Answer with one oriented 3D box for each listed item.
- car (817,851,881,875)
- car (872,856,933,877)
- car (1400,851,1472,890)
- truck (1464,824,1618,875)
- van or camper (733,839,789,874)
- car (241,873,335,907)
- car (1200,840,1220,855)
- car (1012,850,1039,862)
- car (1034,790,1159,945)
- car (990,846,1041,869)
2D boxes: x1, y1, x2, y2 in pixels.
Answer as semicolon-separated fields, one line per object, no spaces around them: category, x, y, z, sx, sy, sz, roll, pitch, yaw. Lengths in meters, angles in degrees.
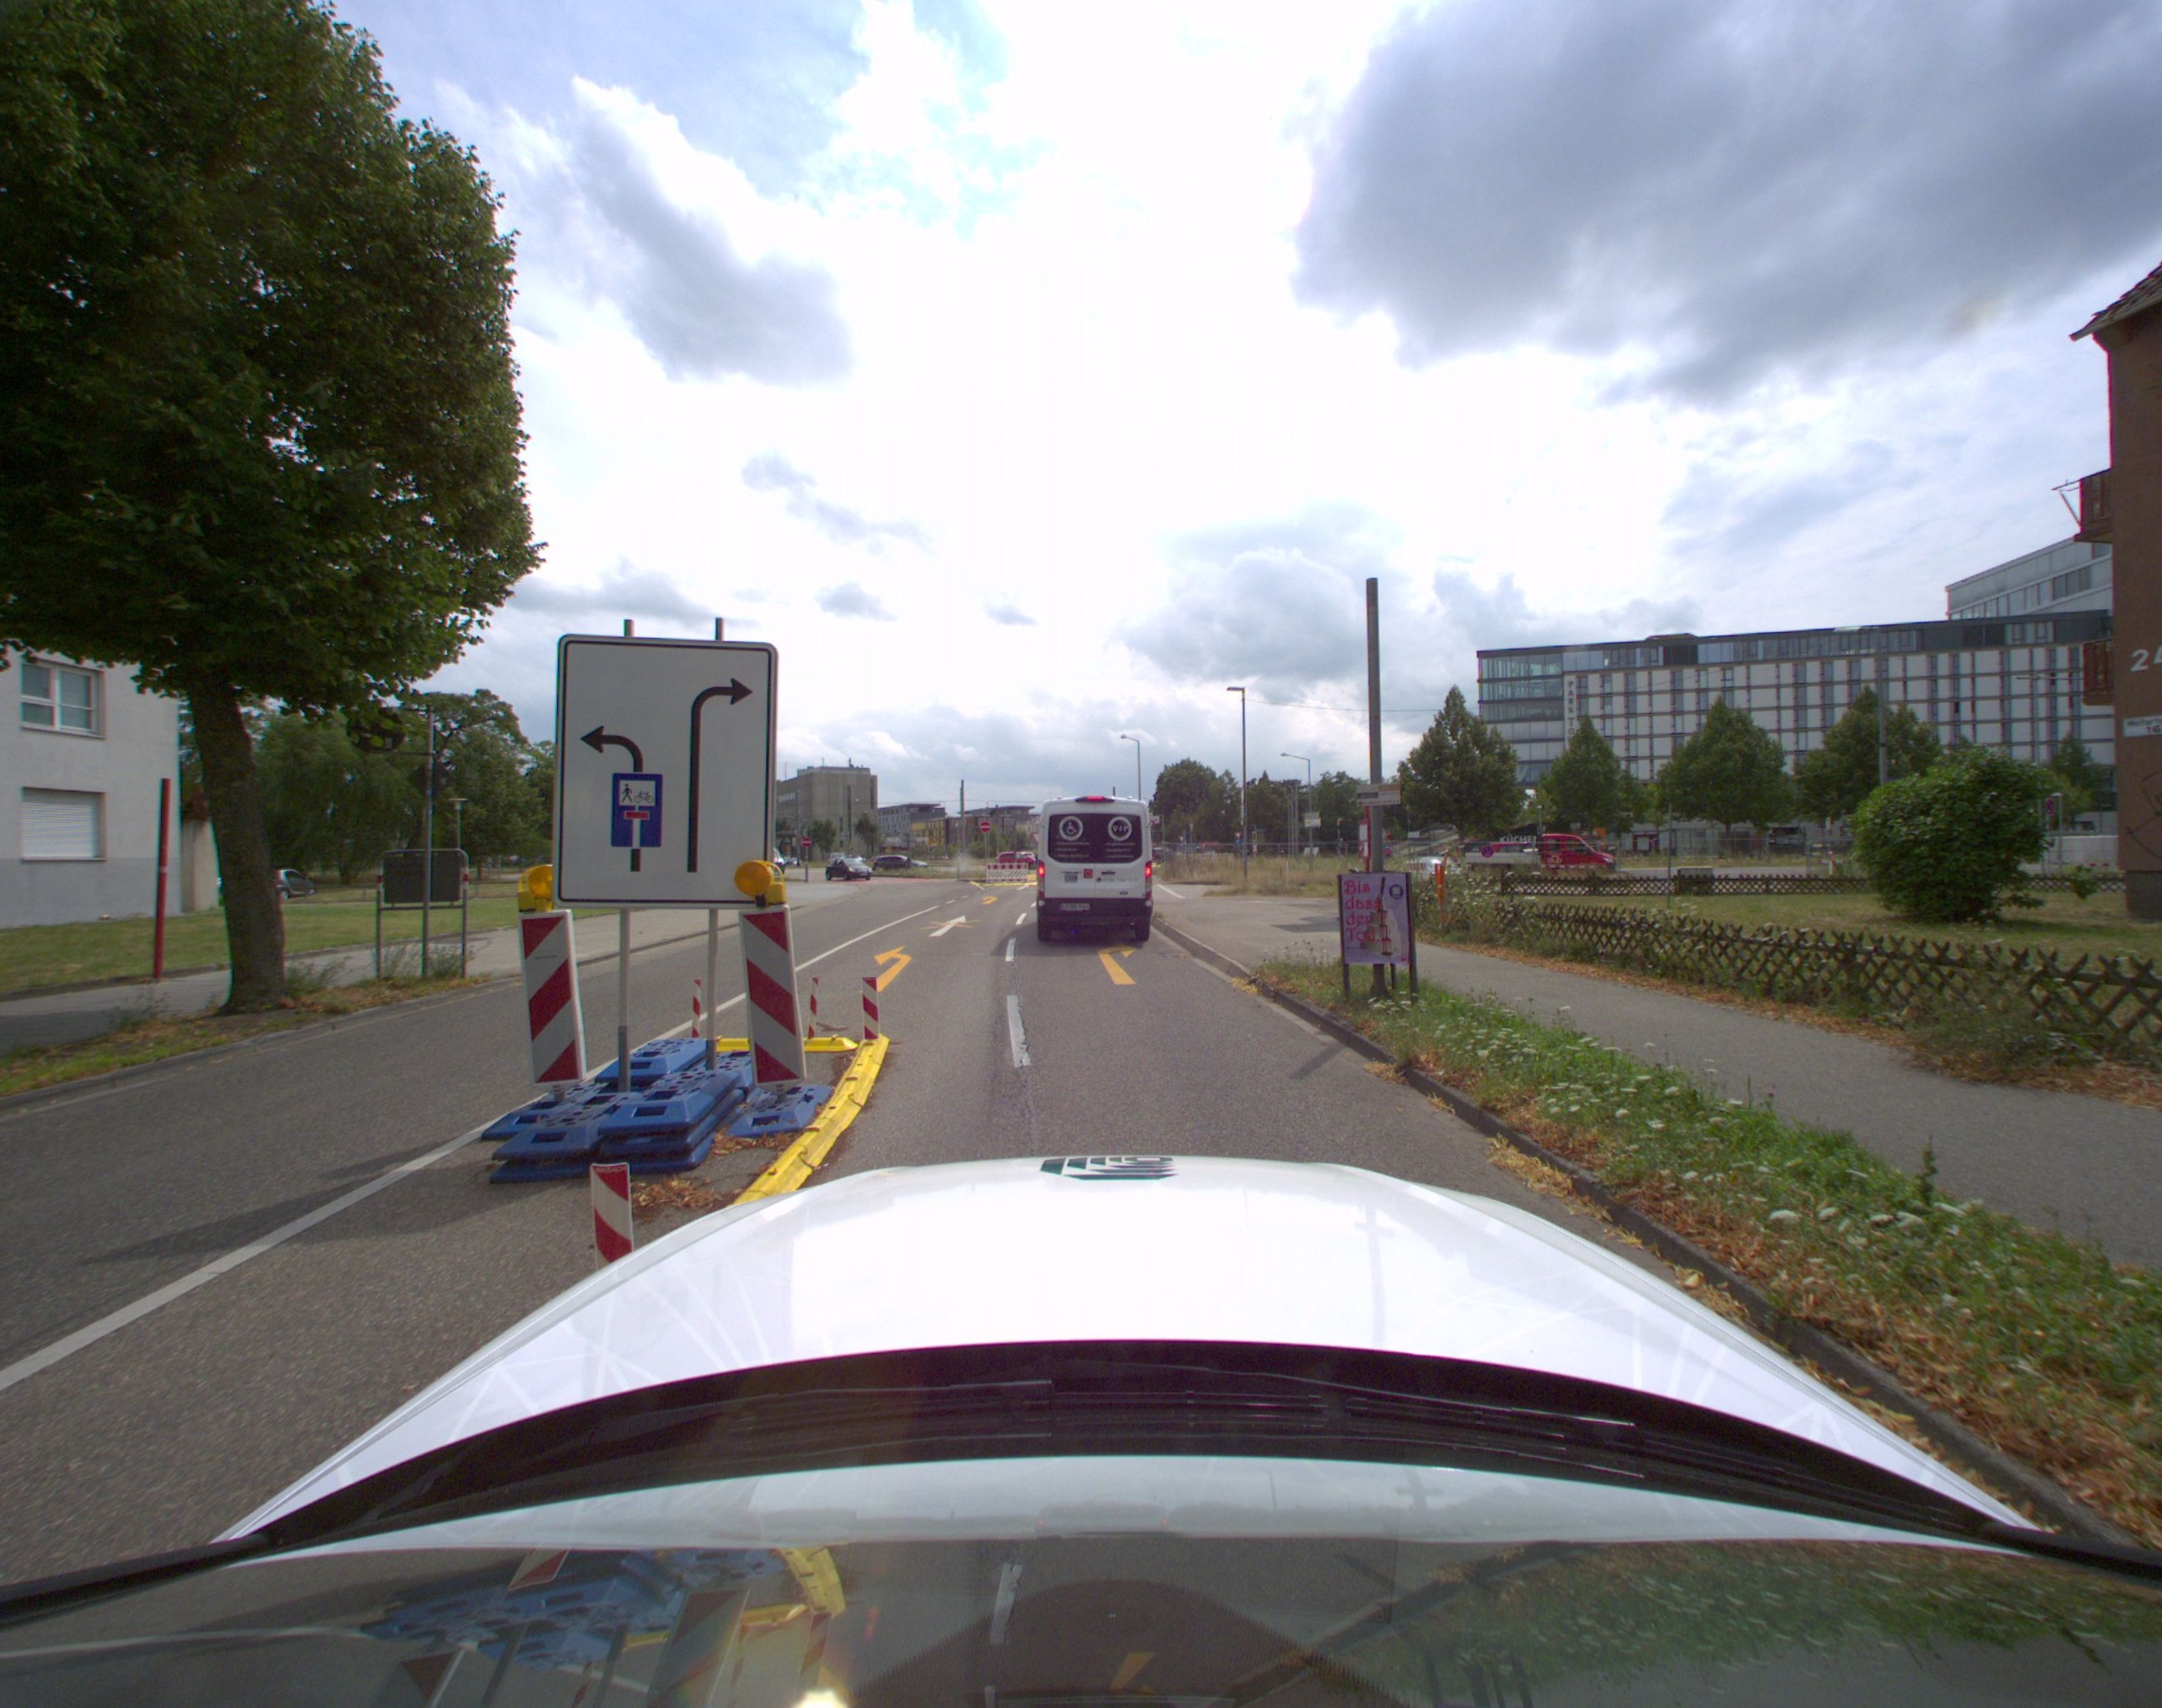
car;-15.205;0.603;53.248;4.202;1.478;1.789;-1;0;35
car;-14.006;0.977;64.109;4.314;1.354;1.627;-3;1;11
car;15.886;0.699;36.662;1.841;1.496;4.346;-3;1;8
truck;23.215;-0.201;41.507;6.601;2.426;2.548;0;0;24
van or camper;-26.715;0.222;67.821;2.169;2.725;6.201;-3;1;-43
car;-41.512;1.856;42.754;1.659;1.477;3.623;-2;1;-9
car;16.226;-0.839;102.799;1.998;1.816;4.415;-3;1;3
car;-8.897;0.346;130.789;4.017;1.771;1.749;-3;1;-35
car;0.218;0.197;15.413;2.057;2.539;3.998;0;1;-2
car;-5.538;0.289;68.888;3.993;1.662;1.882;-3;1;-14
